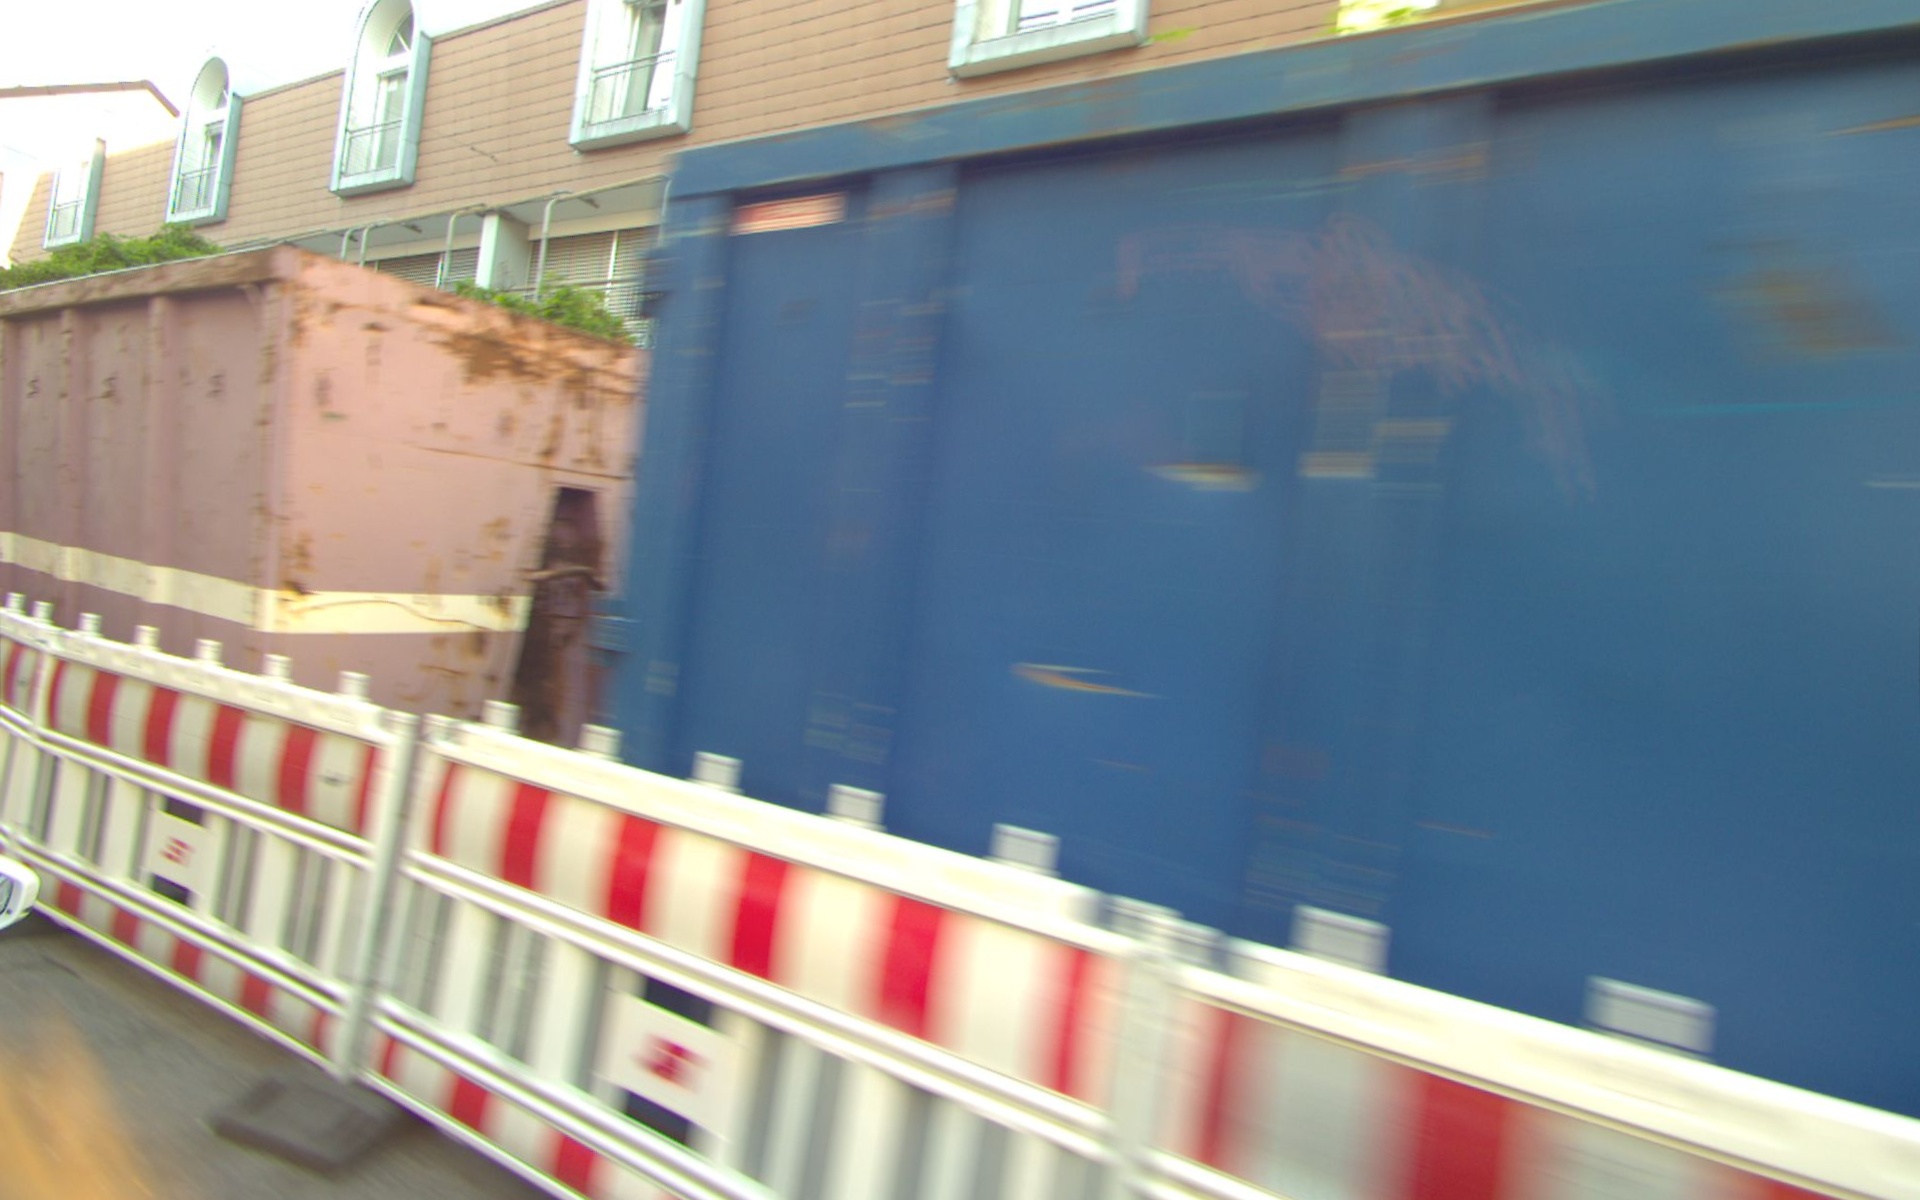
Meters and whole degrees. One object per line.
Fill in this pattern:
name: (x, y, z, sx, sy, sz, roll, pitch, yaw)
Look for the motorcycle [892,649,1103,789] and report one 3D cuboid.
motorcycle: (0.363, 1.315, 11.515, 0.867, 1.236, 2.429, 8, -2, -41)
